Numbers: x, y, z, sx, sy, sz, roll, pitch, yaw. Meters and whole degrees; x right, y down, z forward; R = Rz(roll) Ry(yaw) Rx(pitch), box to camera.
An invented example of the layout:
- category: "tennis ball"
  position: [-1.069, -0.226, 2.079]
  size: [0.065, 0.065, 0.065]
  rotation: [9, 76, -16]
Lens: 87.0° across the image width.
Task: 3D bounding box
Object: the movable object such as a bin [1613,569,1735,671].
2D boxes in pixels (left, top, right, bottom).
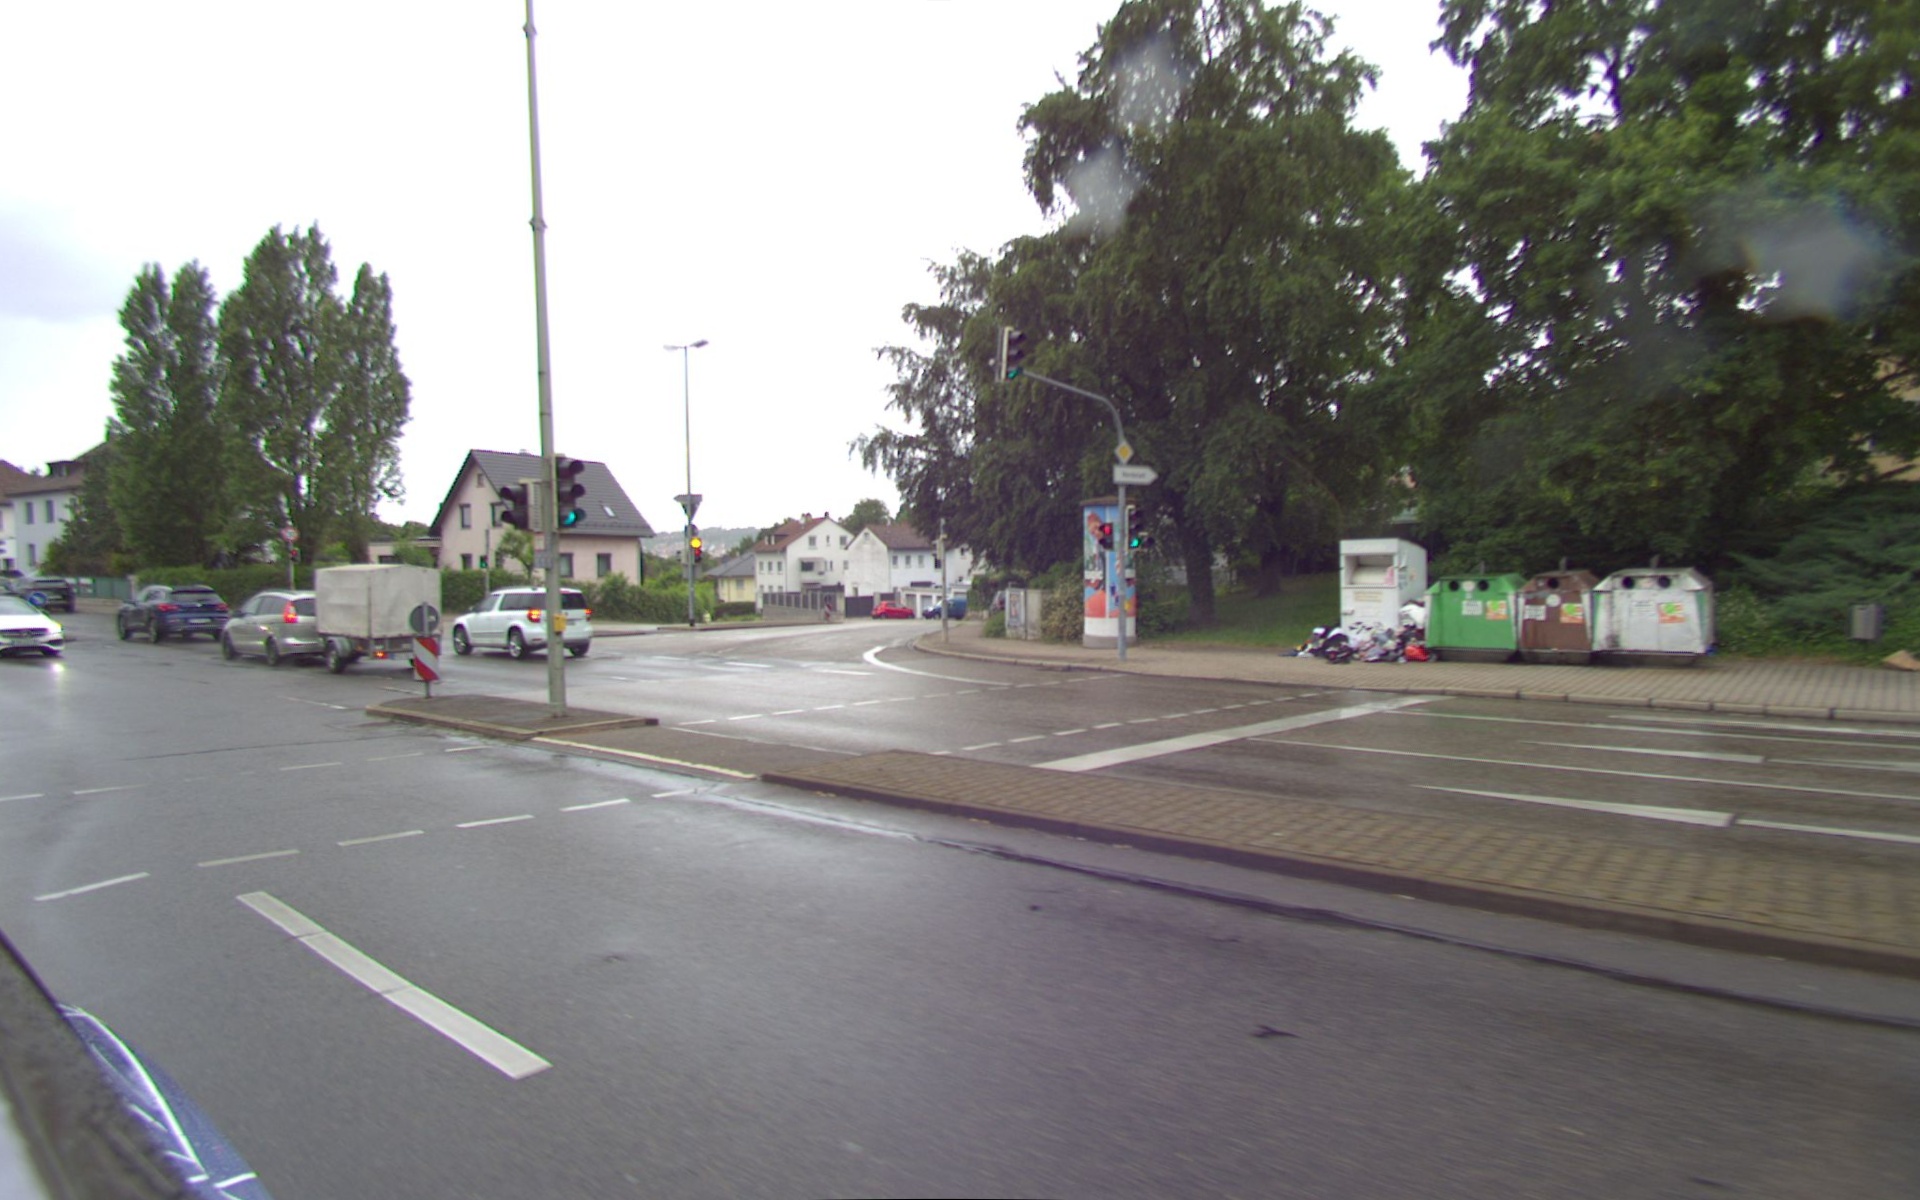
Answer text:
- category: "movable object such as a bin"
  position: [11.523, 0.296, 16.312]
  size: [1.344, 1.526, 2.035]
  rotation: [-1, 0, 42]

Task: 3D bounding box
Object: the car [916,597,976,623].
- category: "car"
  position: [-1.041, 0.717, 75.133]
  size: [4.022, 1.863, 1.945]
  rotation: [0, 0, -22]

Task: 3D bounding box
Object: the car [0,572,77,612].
- category: "car"
  position: [-42.669, -0.414, 46.564]
  size: [4.583, 1.682, 1.791]
  rotation: [2, 2, 32]

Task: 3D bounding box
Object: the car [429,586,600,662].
- category: "car"
  position: [-10.832, 0.511, 24.492]
  size: [4.457, 1.669, 1.807]
  rotation: [1, 1, 36]

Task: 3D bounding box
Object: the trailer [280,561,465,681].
- category: "trailer"
  position: [-11.905, 0.362, 20.415]
  size: [4.030, 2.195, 1.878]
  rotation: [0, 1, 38]

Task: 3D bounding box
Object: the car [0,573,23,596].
- category: "car"
  position: [-63.901, -0.923, 65.784]
  size: [1.878, 1.430, 3.959]
  rotation: [1, 4, 31]

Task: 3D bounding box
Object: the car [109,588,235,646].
- category: "car"
  position: [-23.309, 0.448, 29.897]
  size: [4.375, 1.563, 1.825]
  rotation: [1, 1, 36]

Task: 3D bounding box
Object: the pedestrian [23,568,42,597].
- category: "pedestrian"
  position: [-58.405, -1.114, 63.738]
  size: [0.538, 1.801, 0.663]
  rotation: [1, 5, 35]

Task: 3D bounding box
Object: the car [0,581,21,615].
- category: "car"
  position: [-48.078, -0.143, 49.758]
  size: [4.129, 1.580, 1.791]
  rotation: [2, 2, 32]

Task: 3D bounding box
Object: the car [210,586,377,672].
- category: "car"
  position: [-15.242, 0.571, 23.076]
  size: [4.474, 1.695, 1.881]
  rotation: [2, 2, 38]

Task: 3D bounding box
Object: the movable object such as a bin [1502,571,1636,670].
- category: "movable object such as a bin"
  position: [10.443, 0.325, 17.324]
  size: [1.581, 1.580, 2.035]
  rotation: [-1, 0, 42]

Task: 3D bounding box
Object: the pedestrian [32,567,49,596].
- category: "pedestrian"
  position: [-59.691, -1.213, 65.692]
  size: [0.643, 1.800, 0.649]
  rotation: [-4, 3, -35]

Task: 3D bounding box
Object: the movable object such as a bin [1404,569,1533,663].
- category: "movable object such as a bin"
  position: [9.255, 0.273, 18.394]
  size: [1.581, 1.580, 2.035]
  rotation: [-1, 0, 42]

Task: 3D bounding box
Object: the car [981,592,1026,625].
- category: "car"
  position: [2.367, 0.432, 55.966]
  size: [1.909, 1.717, 4.201]
  rotation: [1, 0, -6]

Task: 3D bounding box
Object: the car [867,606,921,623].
- category: "car"
  position: [-5.415, 1.182, 82.772]
  size: [4.022, 1.298, 1.914]
  rotation: [0, 0, -25]

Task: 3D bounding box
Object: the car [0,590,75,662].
- category: "car"
  position: [-23.367, 0.567, 24.076]
  size: [4.628, 1.540, 1.897]
  rotation: [1, 2, 27]
